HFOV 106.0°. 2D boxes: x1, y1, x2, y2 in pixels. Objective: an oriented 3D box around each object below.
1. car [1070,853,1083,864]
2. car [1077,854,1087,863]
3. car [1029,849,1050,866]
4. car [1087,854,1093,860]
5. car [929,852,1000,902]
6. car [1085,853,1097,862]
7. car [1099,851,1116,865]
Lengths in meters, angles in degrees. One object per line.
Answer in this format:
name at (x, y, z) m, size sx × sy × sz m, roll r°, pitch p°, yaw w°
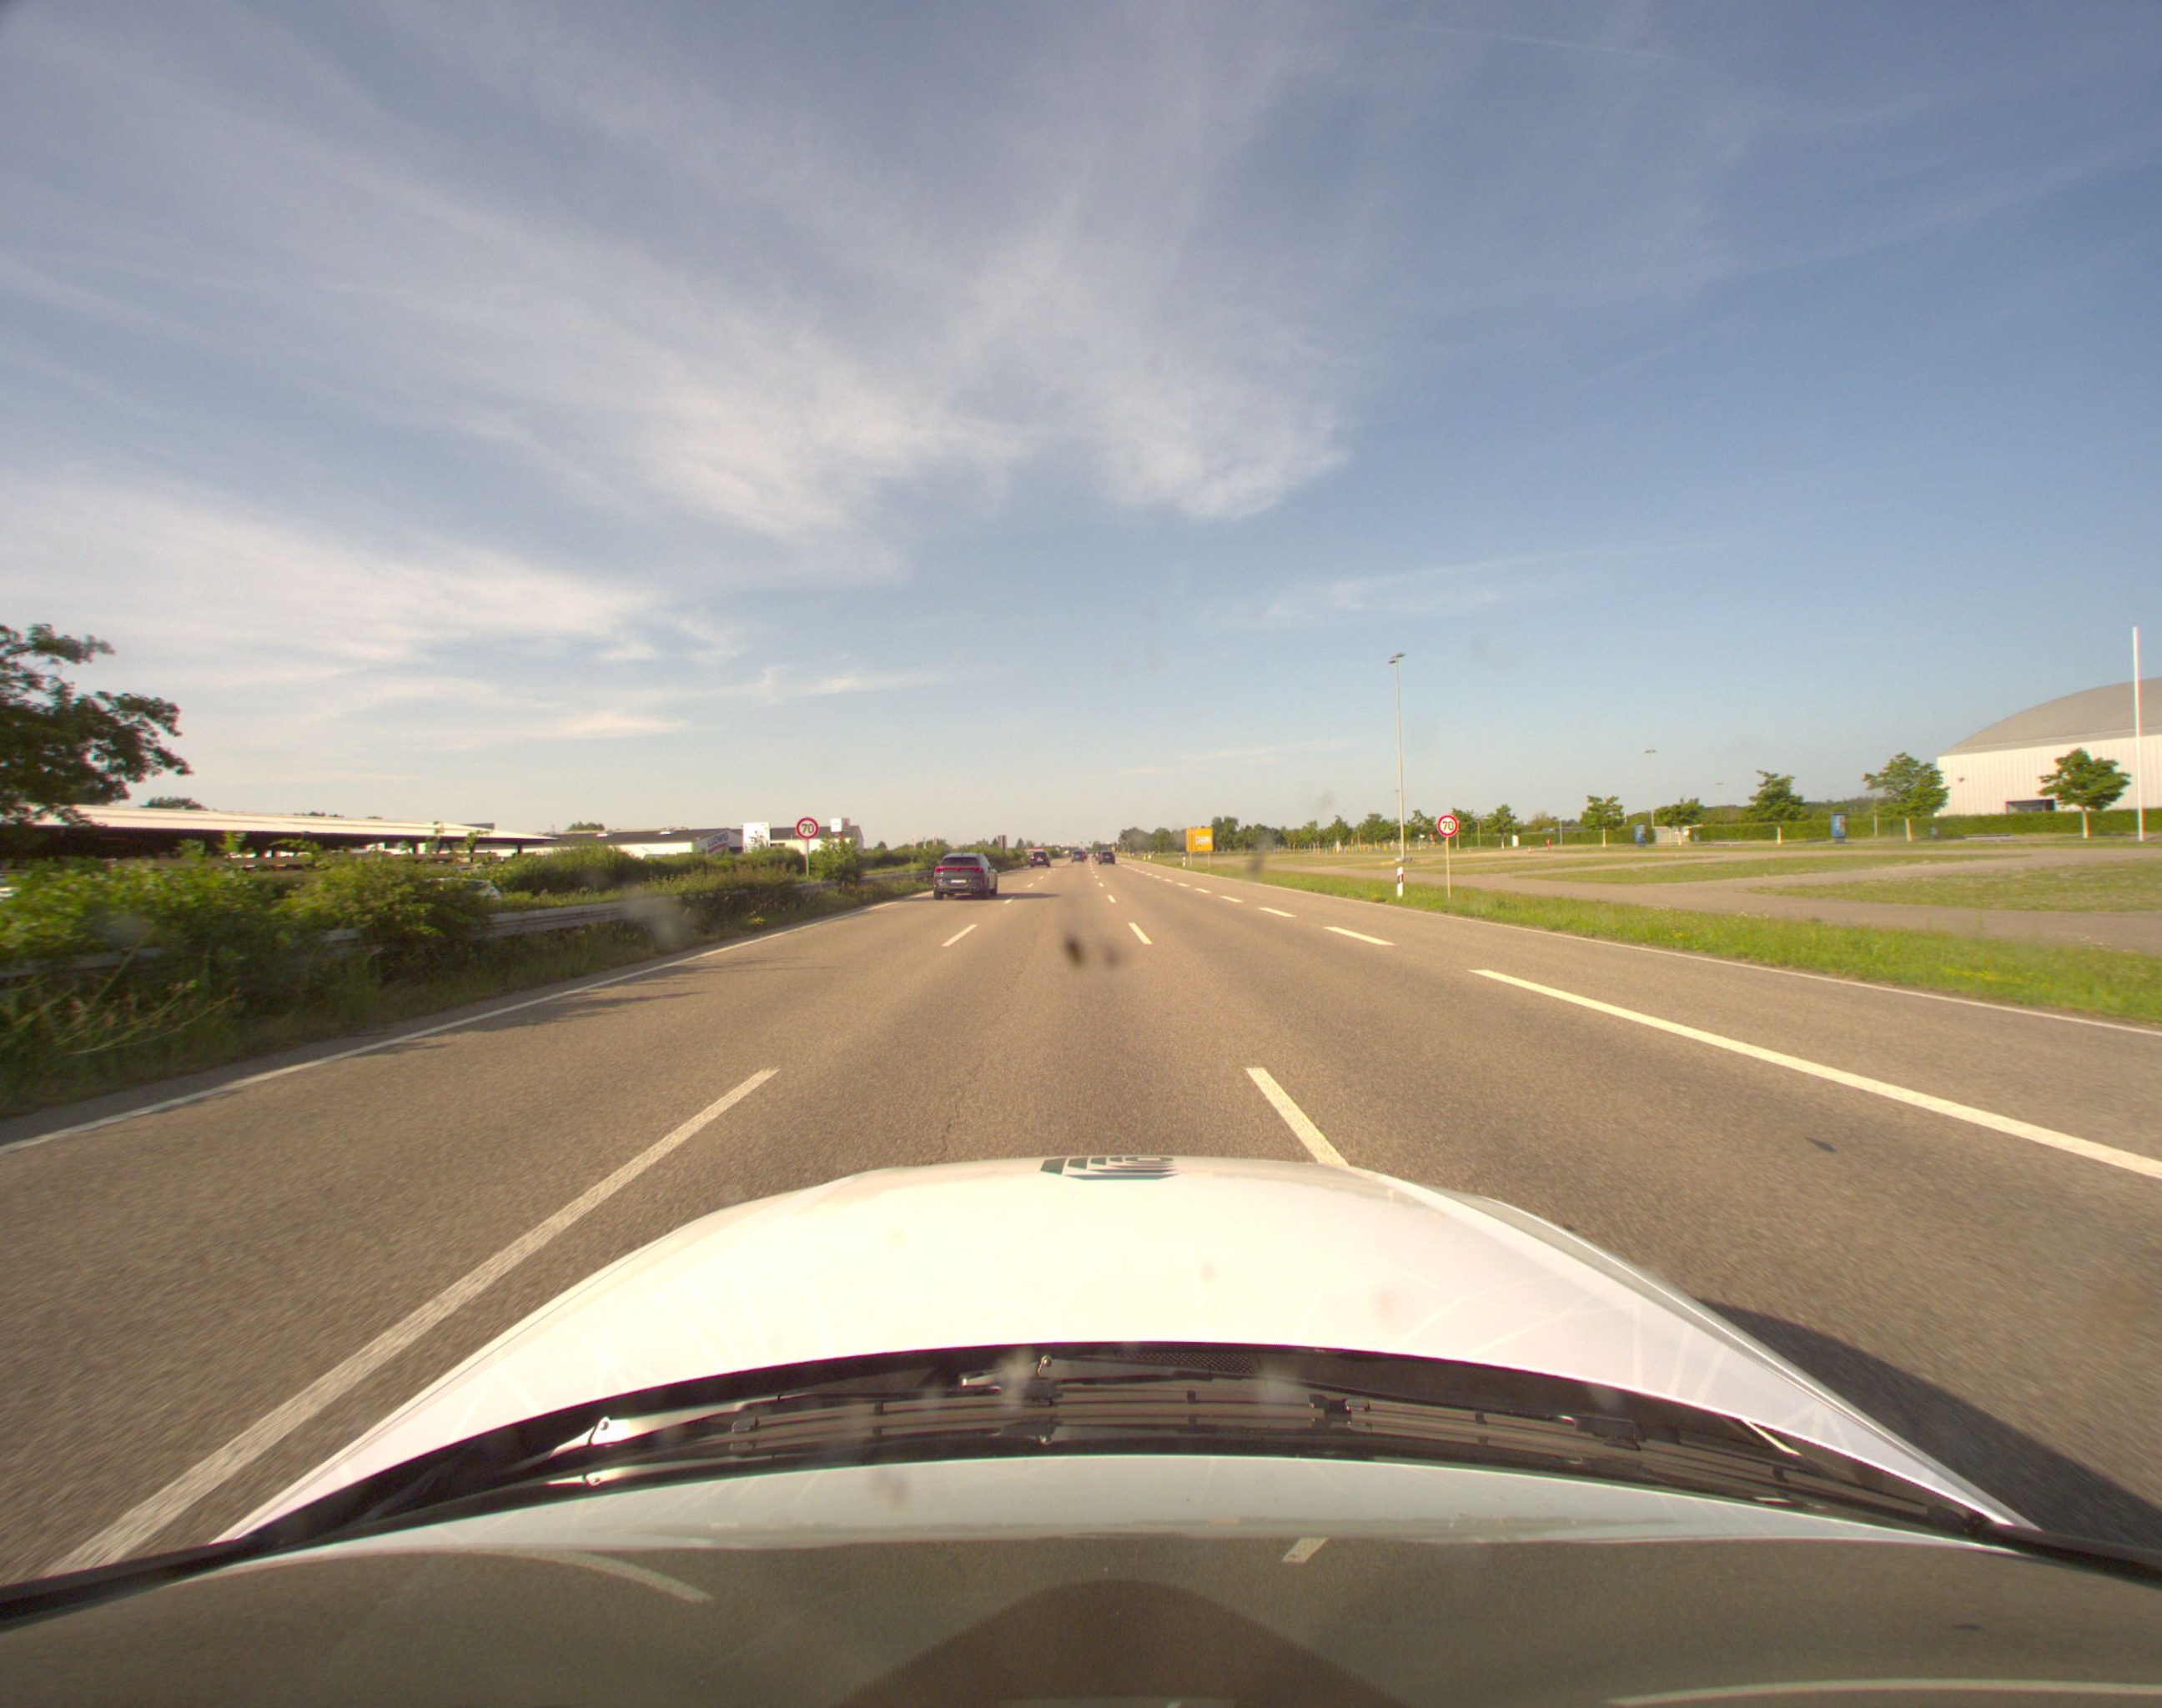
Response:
car at (-0.583, 0.602, 116.980) m, size 1.807 × 1.463 × 4.400 m, roll 1°, pitch 0°, yaw 0°
car at (0.182, 0.781, 142.330) m, size 1.642 × 1.463 × 3.980 m, roll 1°, pitch 0°, yaw 0°
car at (-4.303, 0.358, 84.759) m, size 1.926 × 1.680 × 4.400 m, roll 1°, pitch 0°, yaw 0°
car at (2.305, 0.781, 201.848) m, size 1.498 × 1.313 × 3.156 m, roll 1°, pitch 0°, yaw 0°
car at (-4.040, 0.744, 28.888) m, size 1.839 × 1.612 × 4.400 m, roll 1°, pitch 0°, yaw 0°
car at (1.636, 0.636, 134.262) m, size 1.867 × 1.463 × 3.980 m, roll 1°, pitch 0°, yaw 0°
car at (3.170, 0.459, 98.413) m, size 1.926 × 1.680 × 4.400 m, roll 1°, pitch 0°, yaw 0°
